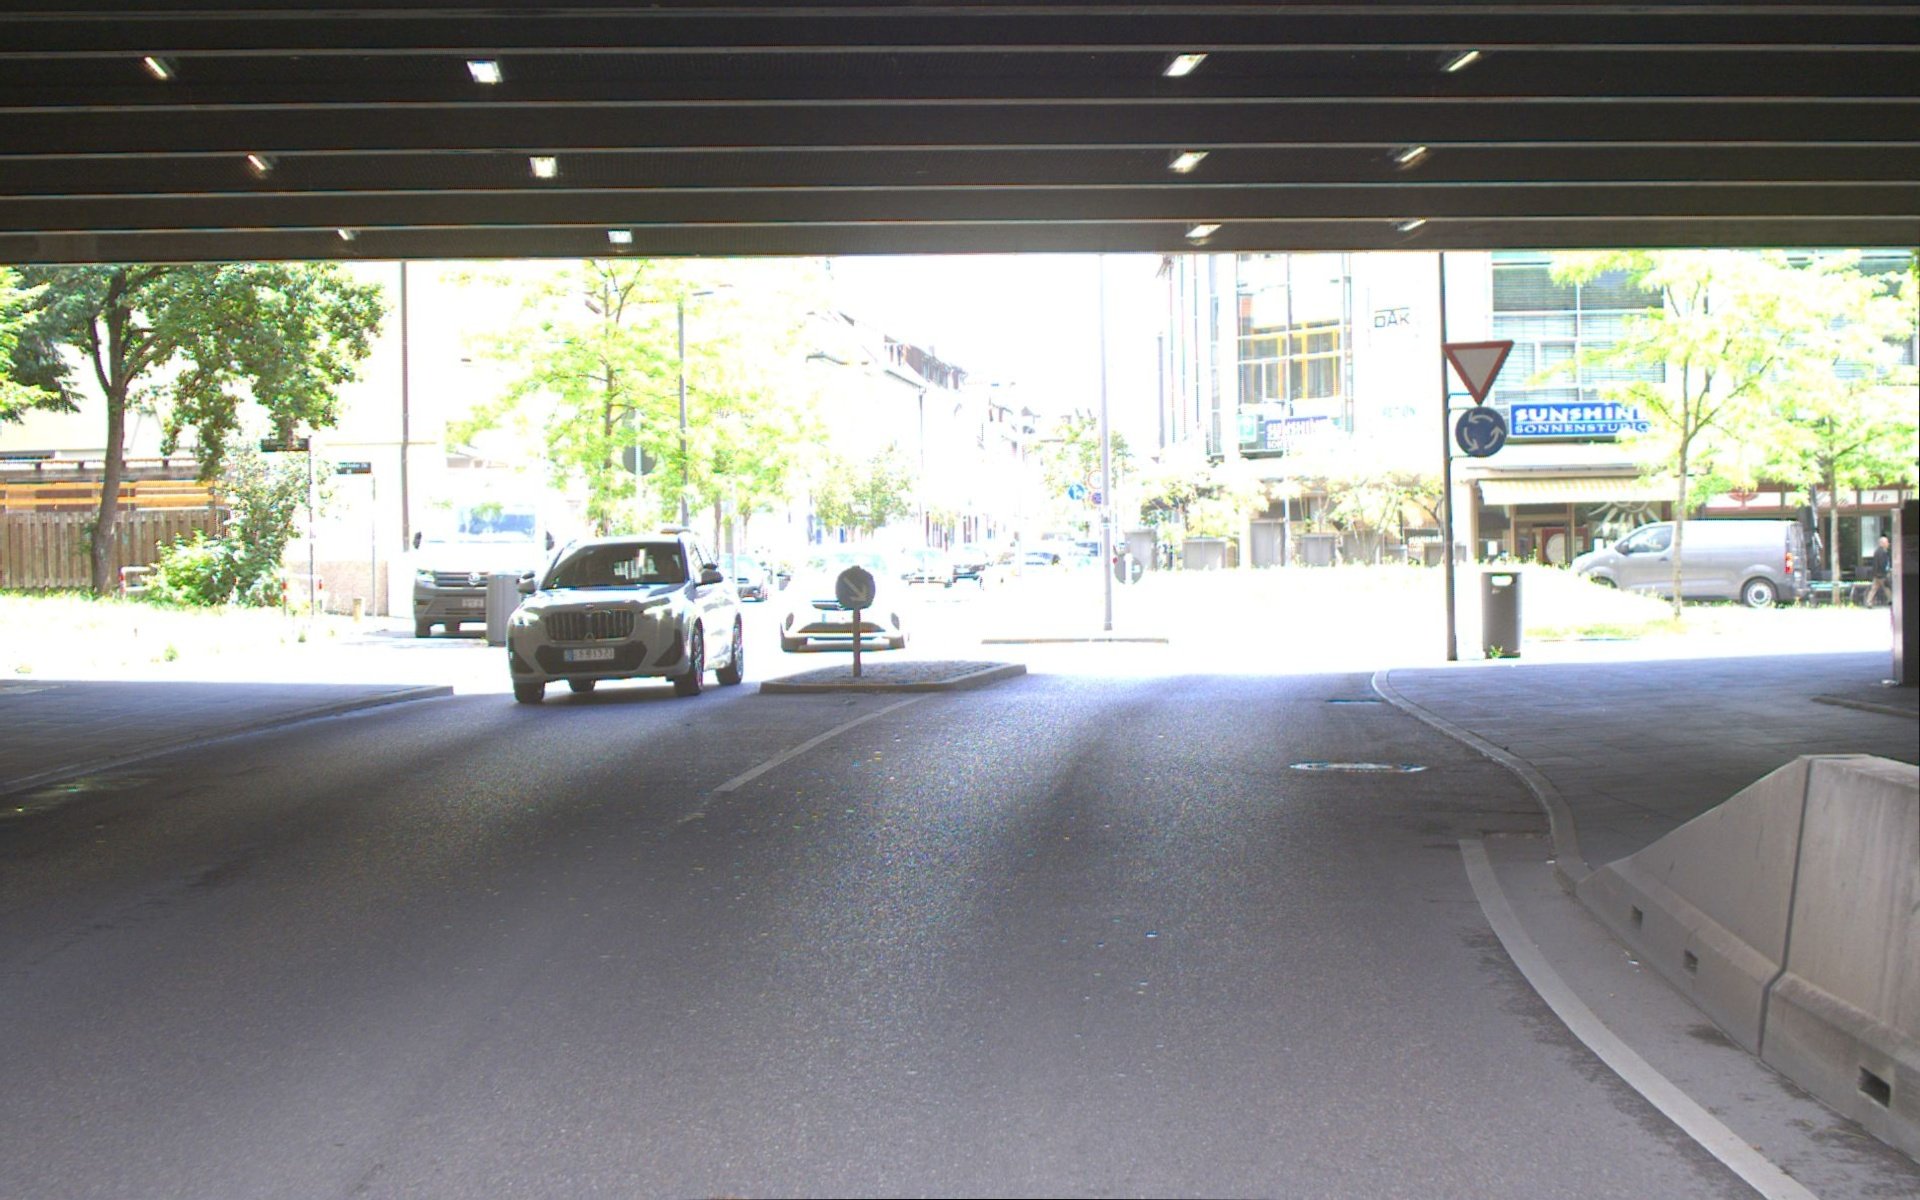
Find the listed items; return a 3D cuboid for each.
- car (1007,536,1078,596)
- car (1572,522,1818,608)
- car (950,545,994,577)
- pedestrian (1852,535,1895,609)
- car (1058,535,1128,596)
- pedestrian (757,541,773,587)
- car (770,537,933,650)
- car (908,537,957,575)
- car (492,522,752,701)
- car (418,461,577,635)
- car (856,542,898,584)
[{"bbox_3d":[2.176,-0.901,91.264,1.824,1.514,4.233,-1,0,1],"label":"car"},{"bbox_3d":[15.230,-0.724,71.231,4.682,1.682,1.998,-1,1,22],"label":"car"},{"bbox_3d":[0.485,-1.672,146.253,1.709,1.349,4.001,0,1,-2],"label":"car"},{"bbox_3d":[20.696,-0.631,77.904,0.695,1.669,0.617,0,1,-22],"label":"pedestrian"},{"bbox_3d":[3.955,-1.034,101.857,1.824,1.725,4.232,-2,0,5],"label":"car"},{"bbox_3d":[-7.070,-1.307,124.924,0.551,1.680,0.516,0,1,-1],"label":"pedestrian"},{"bbox_3d":[-1.476,-0.119,48.112,1.672,1.442,3.852,-2,1,7],"label":"car"},{"bbox_3d":[-1.014,-1.634,126.603,1.709,1.349,4.001,0,1,-2],"label":"car"},{"bbox_3d":[-3.345,0.070,34.821,1.825,1.648,4.213,-2,1,5],"label":"car"},{"bbox_3d":[-7.280,-0.827,54.613,1.967,2.598,5.931,1,1,-3],"label":"car"},{"bbox_3d":[-3.470,-1.532,142.570,1.709,1.706,4.001,0,1,-2],"label":"car"}]
